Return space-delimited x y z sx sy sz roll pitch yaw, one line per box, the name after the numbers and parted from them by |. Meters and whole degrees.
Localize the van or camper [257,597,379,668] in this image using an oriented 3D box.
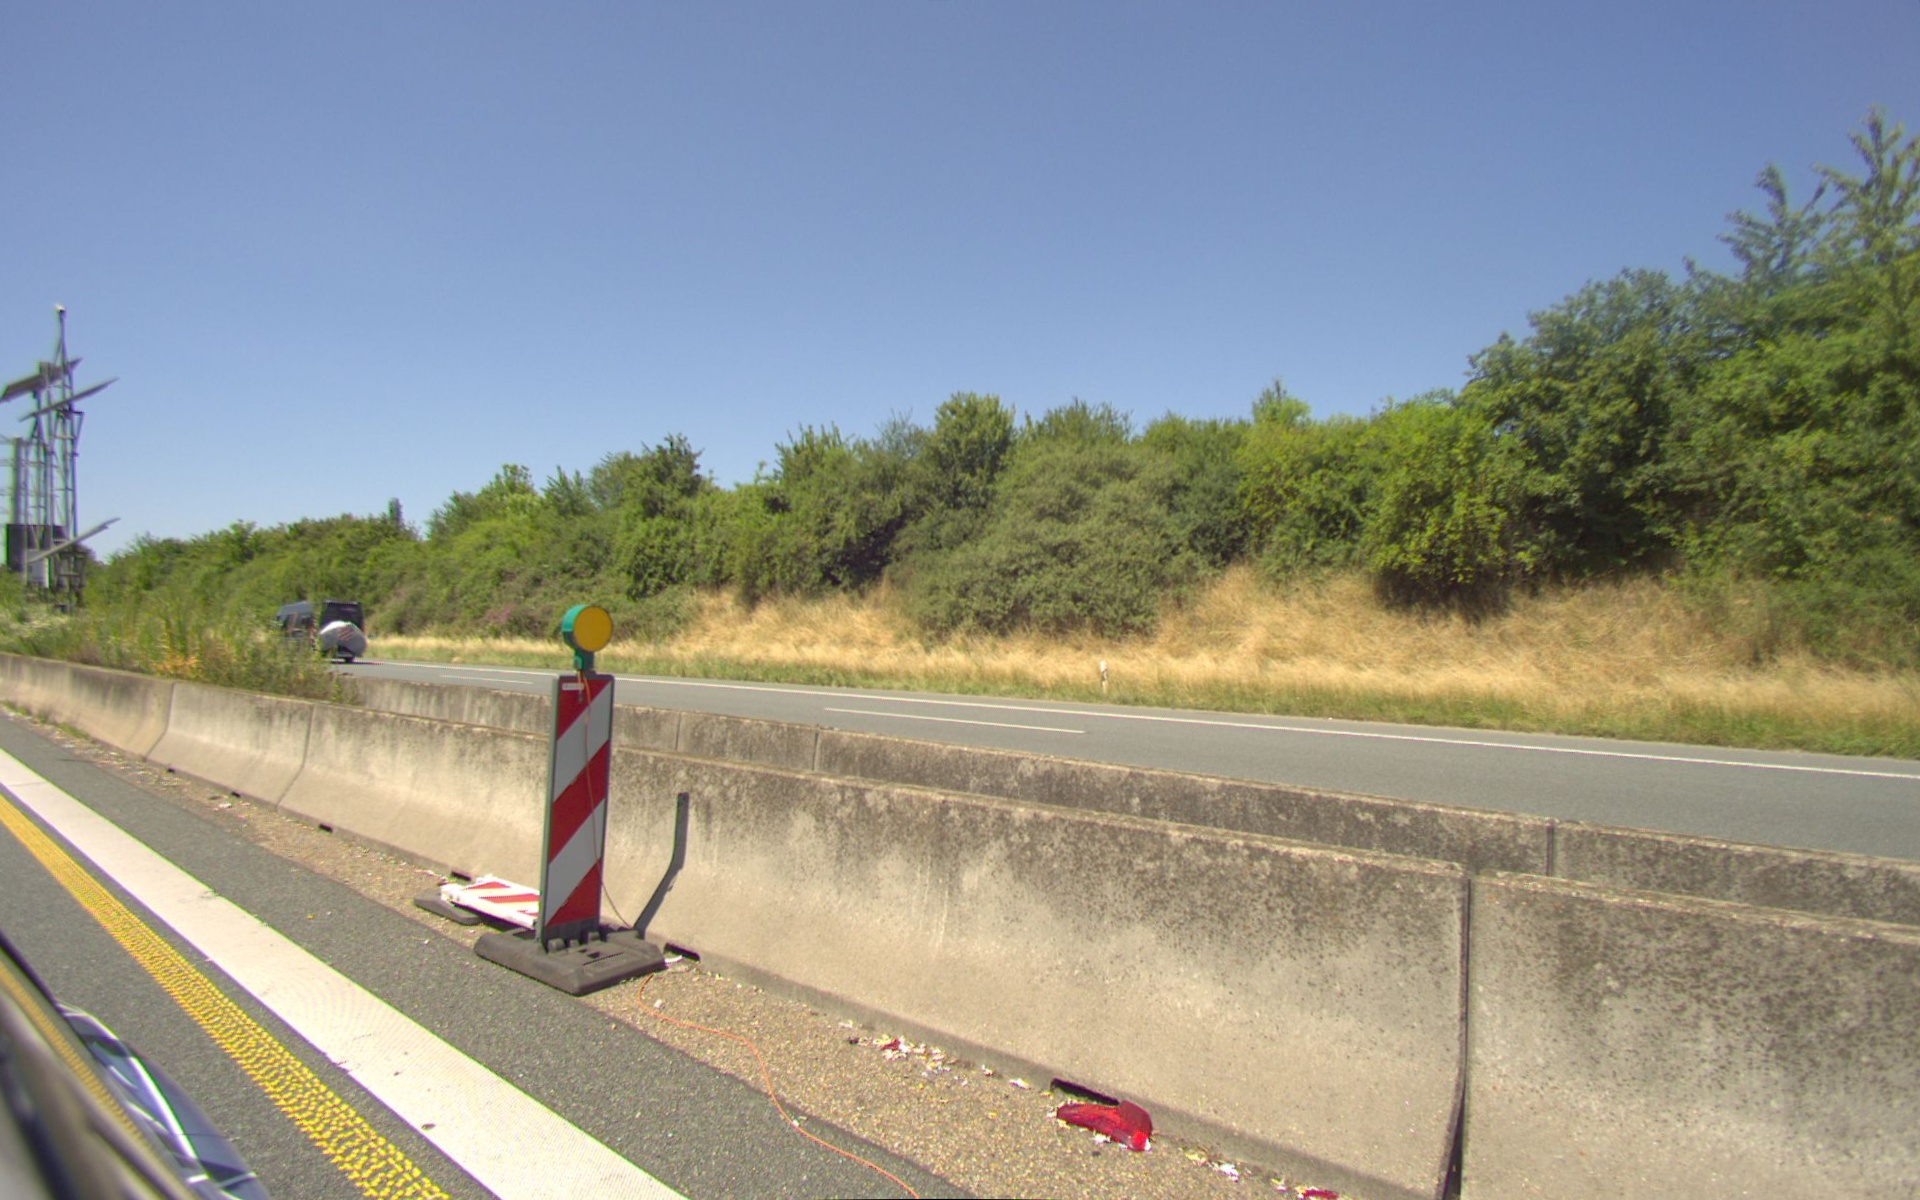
-27.238 1.365 42.781 7.075 2.731 2.200 -1 -4 40 | van or camper
